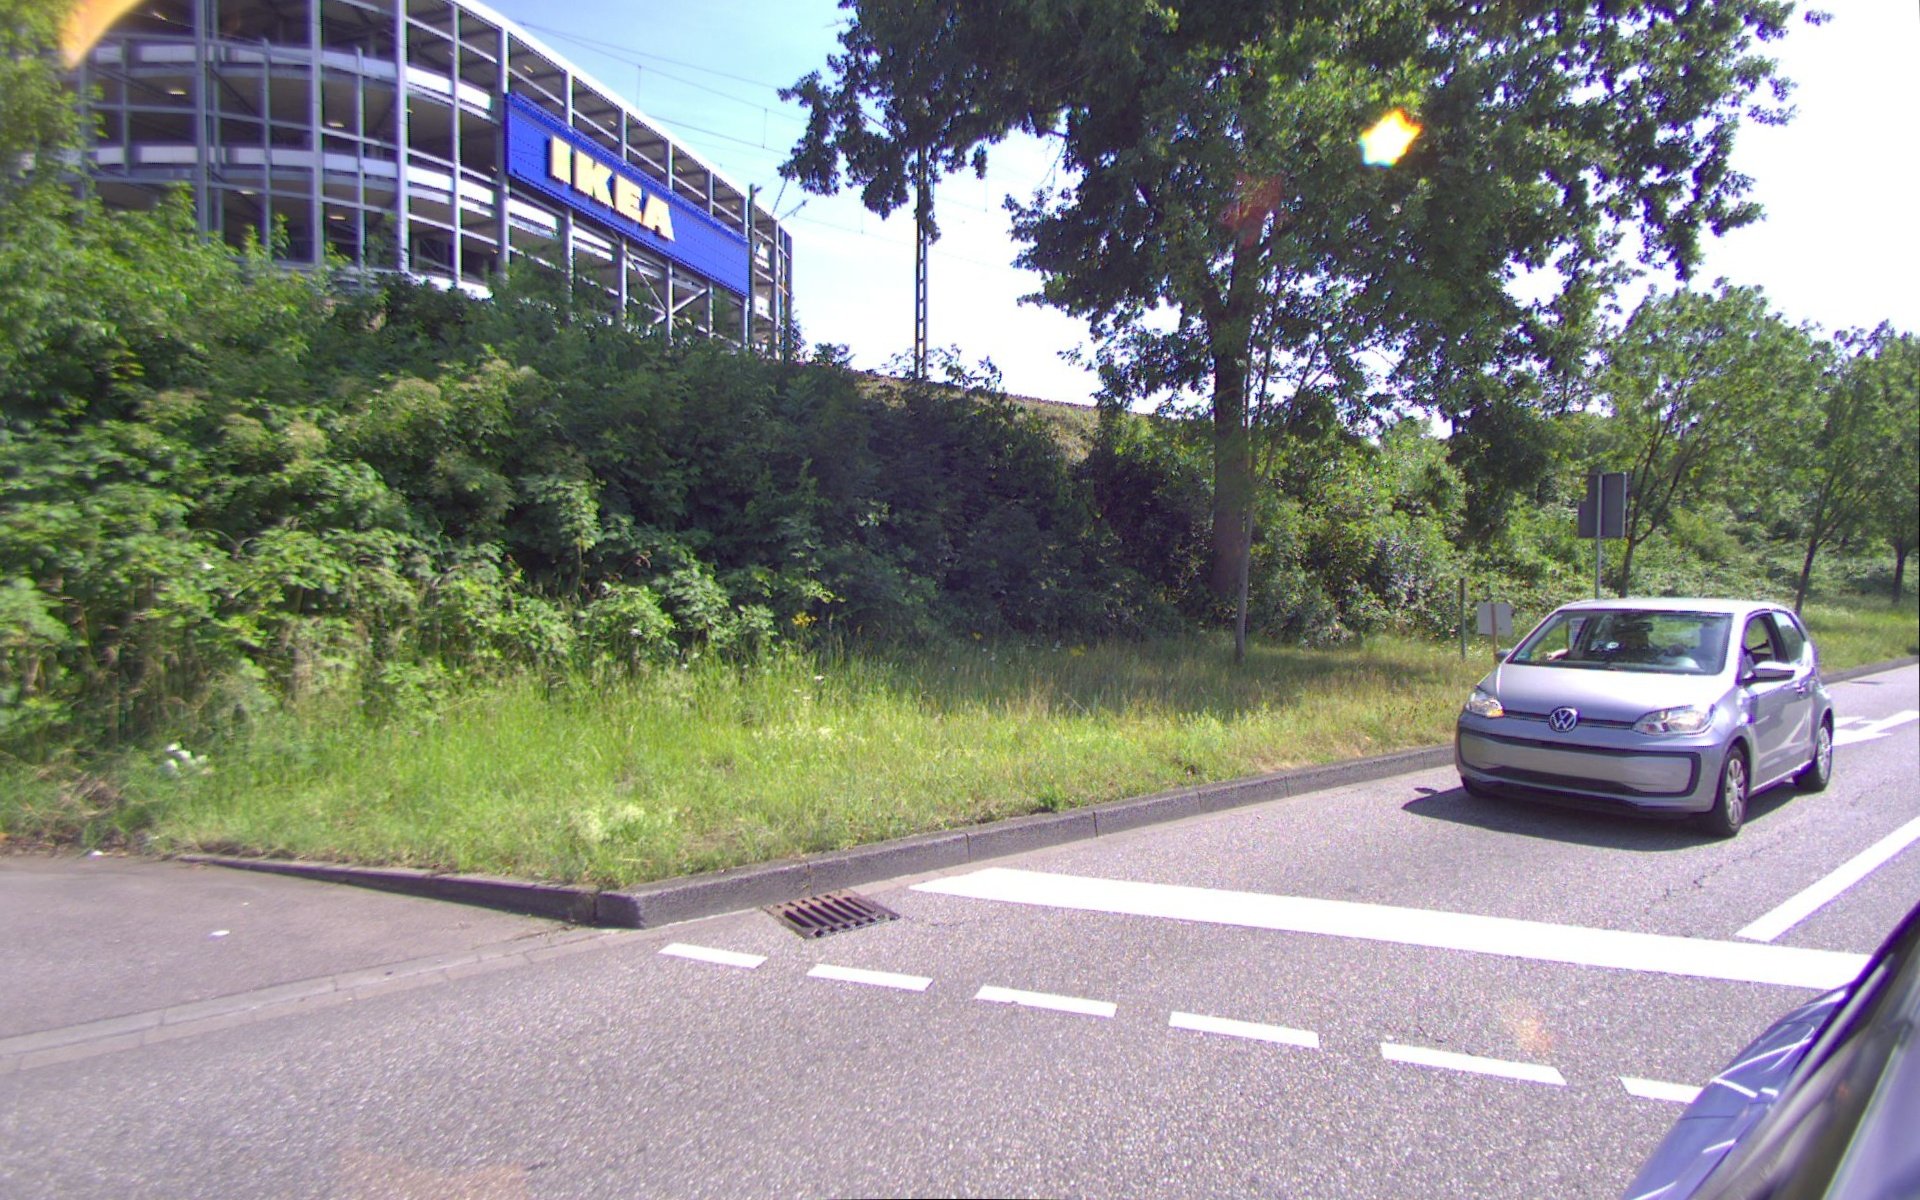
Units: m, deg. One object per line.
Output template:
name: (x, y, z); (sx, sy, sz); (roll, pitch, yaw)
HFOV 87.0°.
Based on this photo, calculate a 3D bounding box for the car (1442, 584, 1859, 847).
car: (5.238, 0.641, 7.515); (3.615, 1.455, 1.703); (-1, -1, -42)
